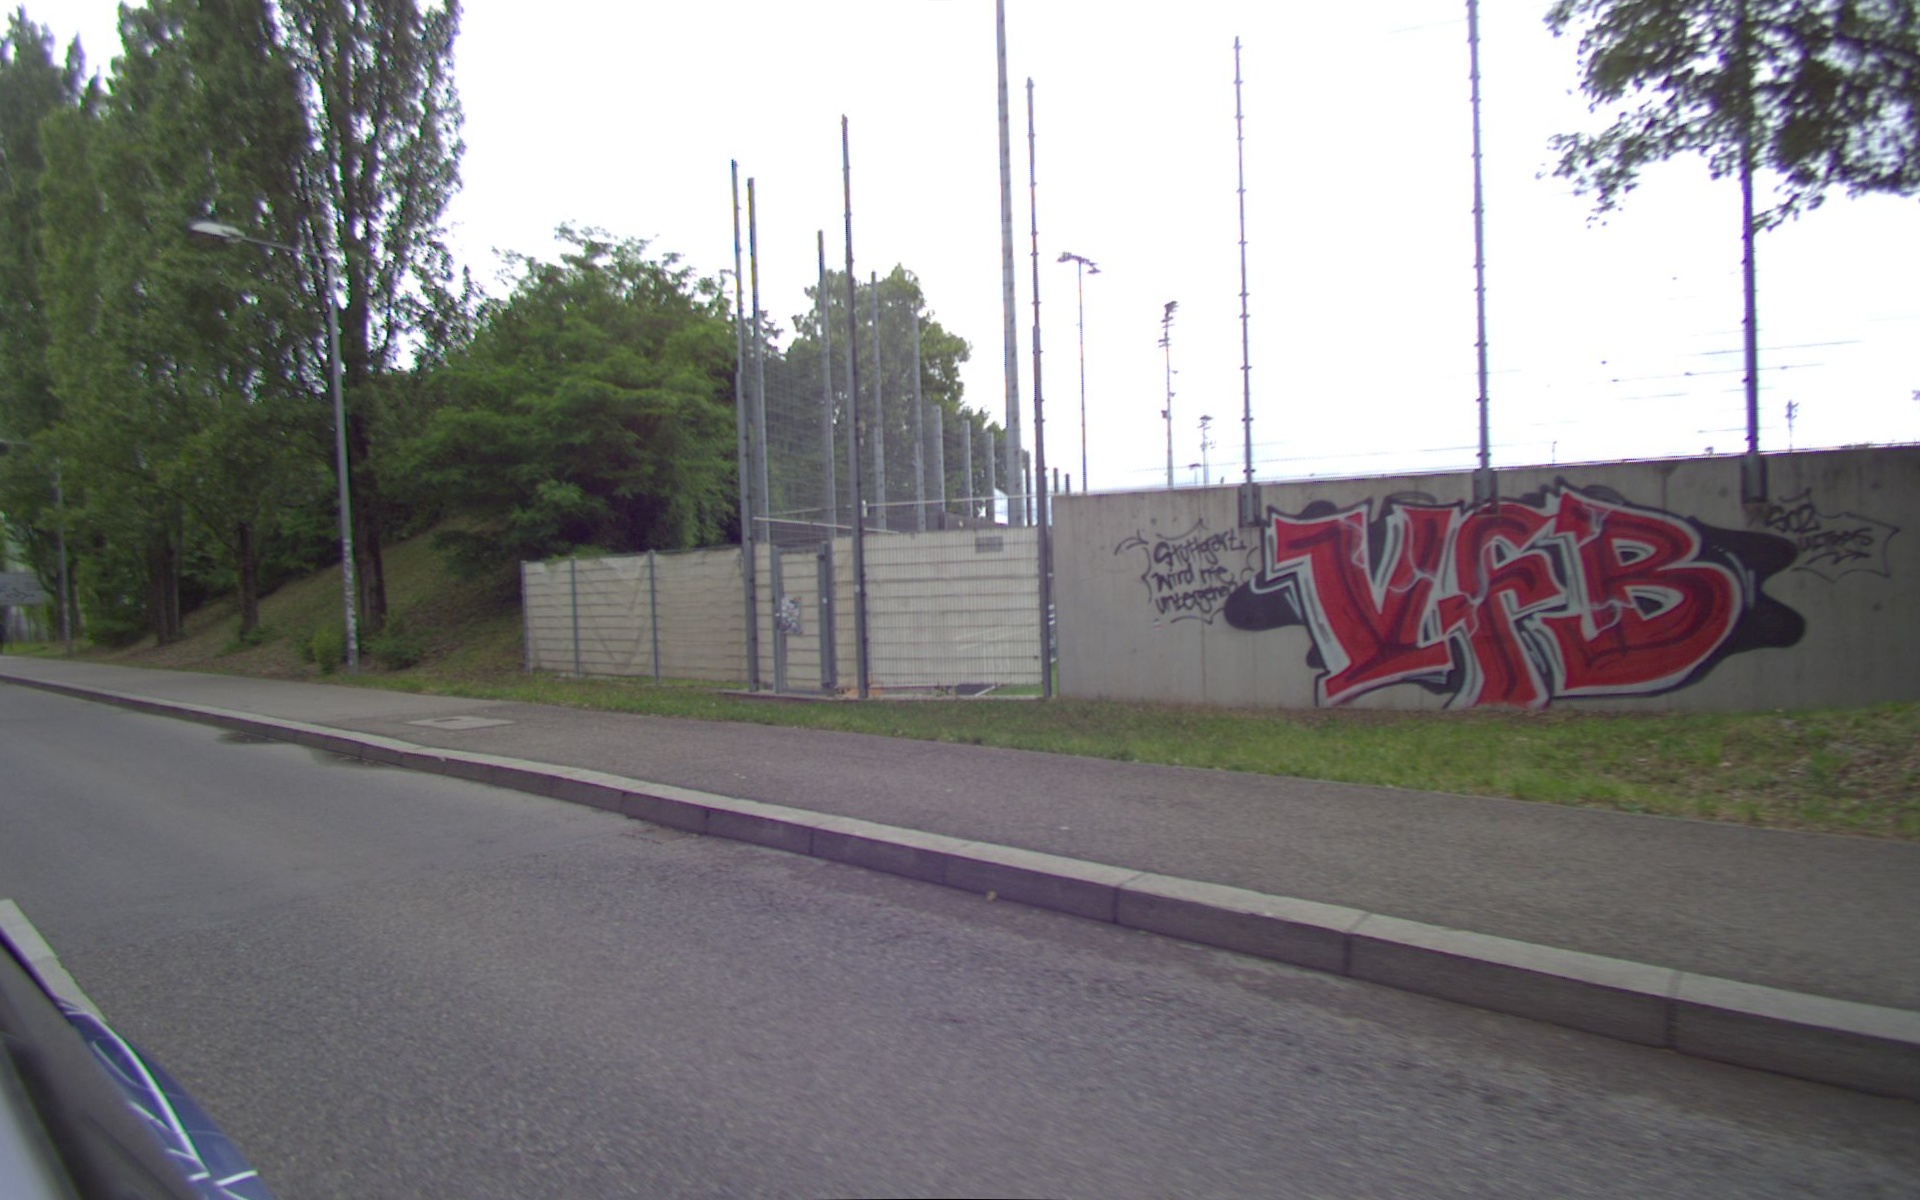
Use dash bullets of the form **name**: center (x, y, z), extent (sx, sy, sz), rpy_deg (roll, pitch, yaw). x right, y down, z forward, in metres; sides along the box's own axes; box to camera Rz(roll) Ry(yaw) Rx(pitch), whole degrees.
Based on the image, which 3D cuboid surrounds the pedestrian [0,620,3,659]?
- **pedestrian**: center (-46.895, 1.932, 49.030), extent (0.736, 1.908, 0.654), rpy_deg (-1, -1, 40)
